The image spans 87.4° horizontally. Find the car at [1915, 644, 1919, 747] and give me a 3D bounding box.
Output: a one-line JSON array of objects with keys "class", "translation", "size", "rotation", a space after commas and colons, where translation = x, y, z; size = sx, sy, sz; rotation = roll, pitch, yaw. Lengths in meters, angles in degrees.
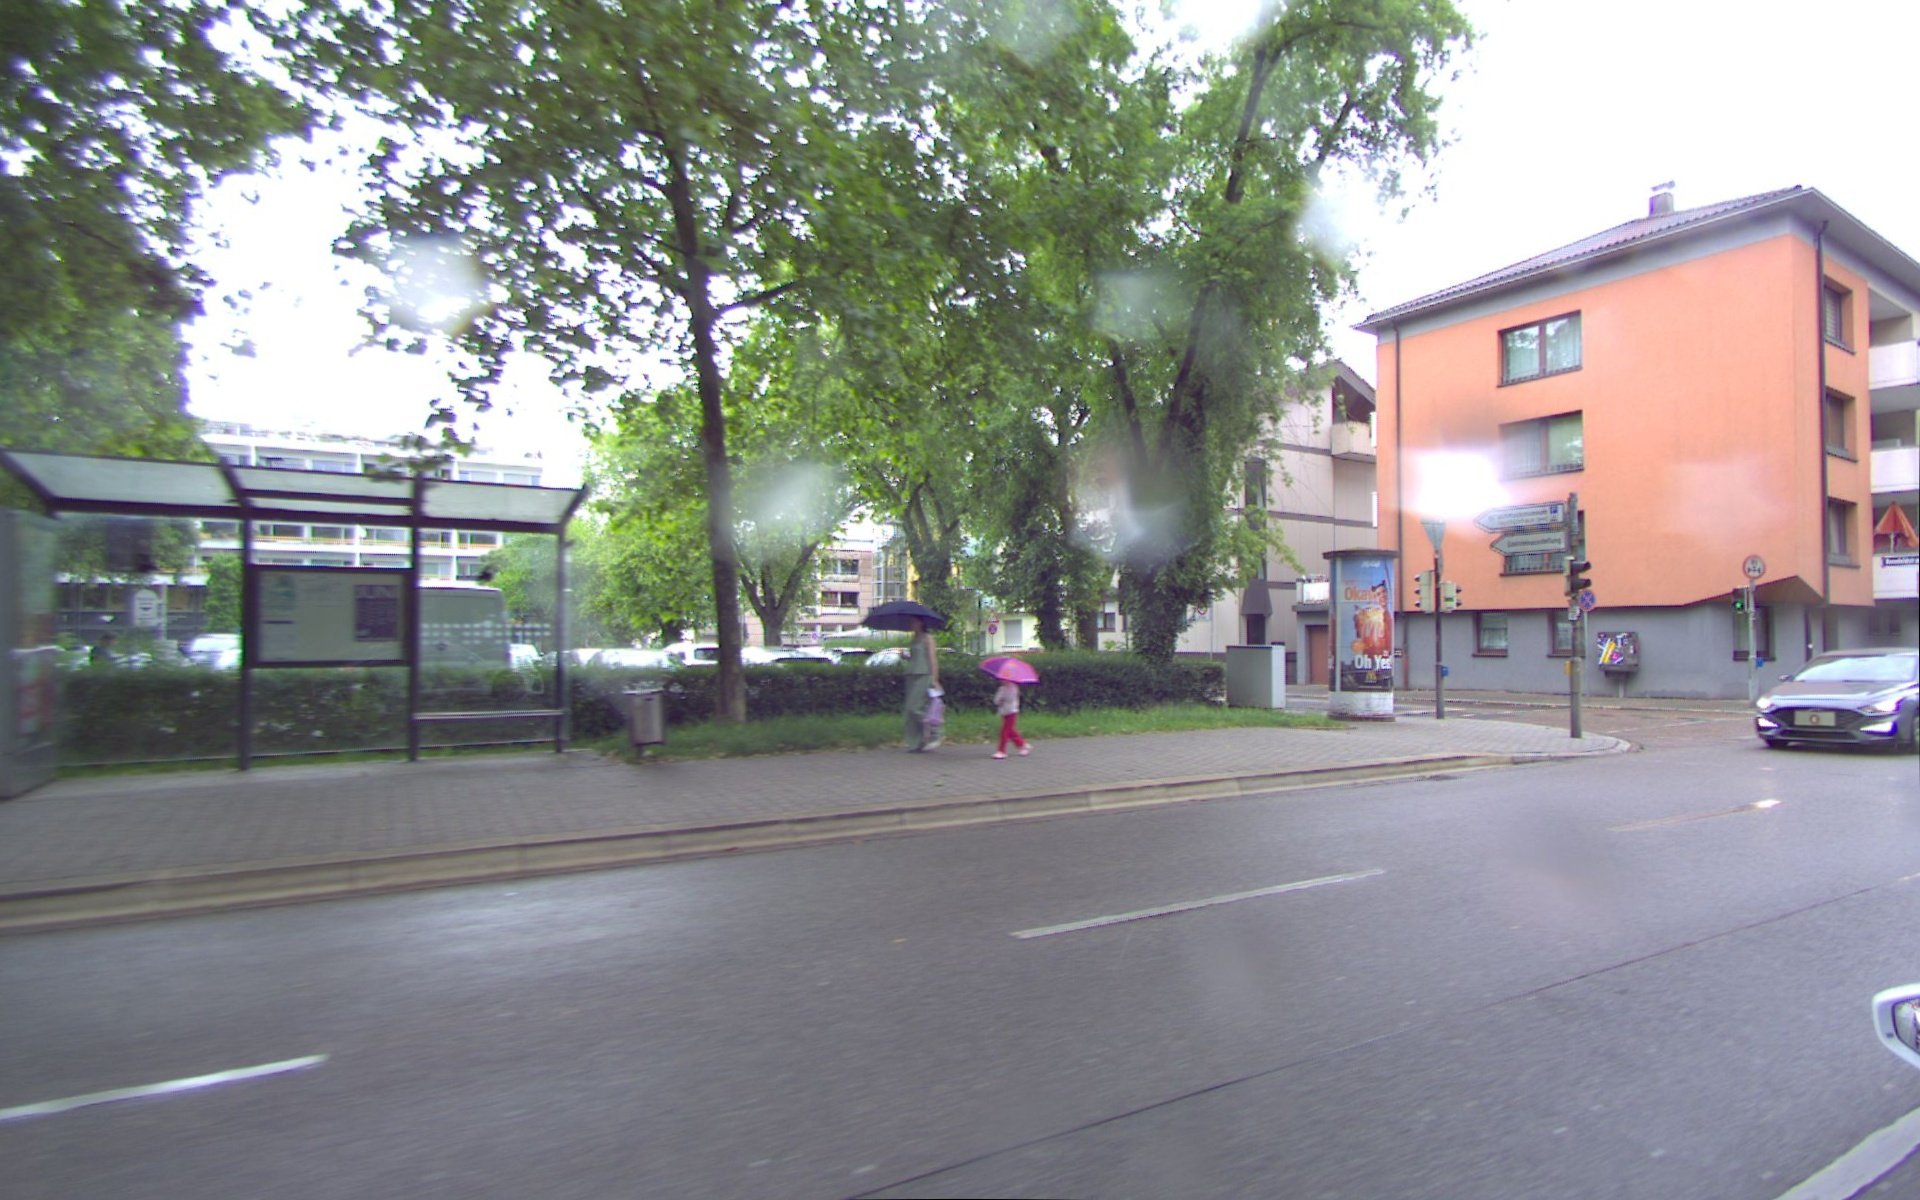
[{"class": "car", "translation": [10.494, 1.116, 9.198], "size": [3.414, 1.433, 1.617], "rotation": [1, -3, -30]}]

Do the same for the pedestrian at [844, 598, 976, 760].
[{"class": "pedestrian", "translation": [-0.586, 0.874, 11.676], "size": [1.195, 1.765, 0.987], "rotation": [1, 0, -31]}]

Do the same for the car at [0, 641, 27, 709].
[{"class": "car", "translation": [-20.919, 1.575, 20.948], "size": [1.375, 1.454, 3.247], "rotation": [1, -3, -29]}]

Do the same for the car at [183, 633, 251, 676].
[{"class": "car", "translation": [-26.372, 1.943, 35.722], "size": [1.588, 1.446, 3.292], "rotation": [2, -3, -31]}]

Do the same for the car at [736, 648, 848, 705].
[{"class": "car", "translation": [-5.009, 2.184, 29.535], "size": [1.799, 1.535, 3.964], "rotation": [2, -3, -33]}]

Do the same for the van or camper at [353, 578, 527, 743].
[{"class": "van or camper", "translation": [-8.309, 0.928, 15.840], "size": [2.026, 2.198, 4.457], "rotation": [2, -3, -32]}]

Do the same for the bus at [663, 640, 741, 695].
[{"class": "bus", "translation": [-7.274, 1.878, 28.191], "size": [1.365, 1.451, 2.776], "rotation": [2, -3, -31]}]

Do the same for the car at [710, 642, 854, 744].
[{"class": "car", "translation": [-3.320, 1.619, 18.360], "size": [1.492, 1.544, 3.173], "rotation": [2, 0, -32]}]

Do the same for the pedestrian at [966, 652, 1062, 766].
[{"class": "pedestrian", "translation": [0.603, 1.195, 11.278], "size": [0.817, 1.190, 0.680], "rotation": [1, 0, -31]}]

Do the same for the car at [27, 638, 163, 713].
[{"class": "car", "translation": [-18.771, 1.589, 21.957], "size": [1.712, 1.481, 3.813], "rotation": [1, -3, -33]}]

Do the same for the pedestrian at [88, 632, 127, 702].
[{"class": "pedestrian", "translation": [-15.285, 1.193, 18.017], "size": [0.481, 1.229, 0.433], "rotation": [2, 0, -37]}]

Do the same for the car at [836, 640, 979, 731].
[{"class": "car", "translation": [-1.116, 1.654, 20.252], "size": [1.492, 1.544, 3.173], "rotation": [2, 0, -32]}]

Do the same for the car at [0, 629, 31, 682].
[{"class": "car", "translation": [-34.871, 1.982, 35.821], "size": [1.798, 1.796, 3.901], "rotation": [1, -3, -32]}]

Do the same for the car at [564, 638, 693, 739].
[{"class": "car", "translation": [-6.115, 1.531, 18.350], "size": [1.492, 1.544, 3.173], "rotation": [2, 0, -32]}]

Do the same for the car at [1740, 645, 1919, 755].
[{"class": "car", "translation": [13.597, 1.403, 14.993], "size": [3.985, 1.435, 1.799], "rotation": [1, -4, -32]}]
